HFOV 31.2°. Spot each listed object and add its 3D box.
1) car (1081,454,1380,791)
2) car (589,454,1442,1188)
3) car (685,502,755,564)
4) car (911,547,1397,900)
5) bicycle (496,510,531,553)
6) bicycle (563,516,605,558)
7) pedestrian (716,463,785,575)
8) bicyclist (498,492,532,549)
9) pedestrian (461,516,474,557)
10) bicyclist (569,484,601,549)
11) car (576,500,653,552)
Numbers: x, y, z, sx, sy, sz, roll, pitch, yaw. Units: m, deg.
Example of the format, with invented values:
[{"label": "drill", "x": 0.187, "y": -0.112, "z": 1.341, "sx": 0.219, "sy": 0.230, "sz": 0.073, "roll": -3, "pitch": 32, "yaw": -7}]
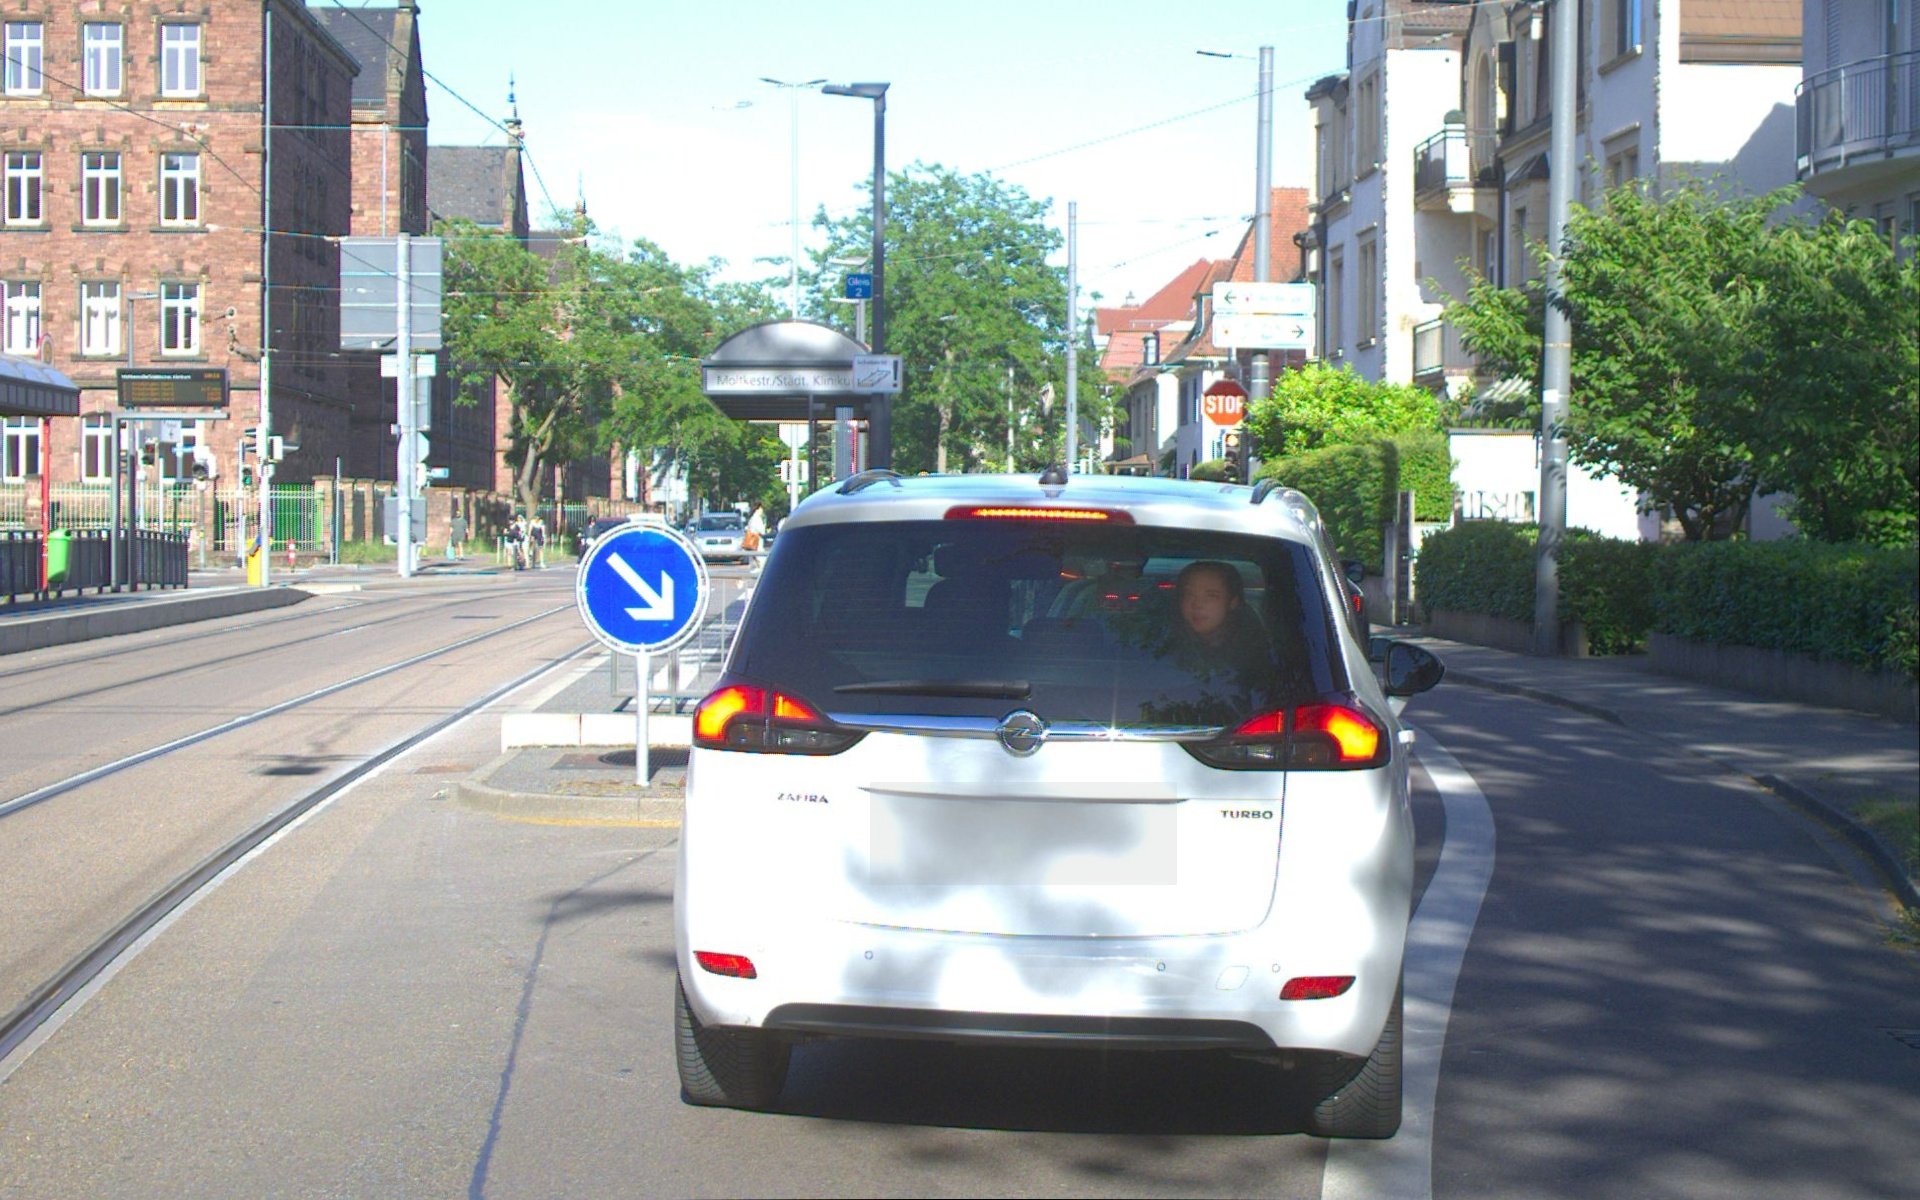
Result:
[{"label": "car", "x": 1.849, "y": 0.085, "z": 22.523, "sx": 1.709, "sy": 2.007, "sz": 3.905, "roll": 0, "pitch": 1, "yaw": 8}, {"label": "car", "x": 0.343, "y": 0.500, "z": 9.748, "sx": 1.893, "sy": 1.605, "sz": 4.227, "roll": 0, "pitch": -1, "yaw": 6}, {"label": "car", "x": -7.621, "y": -2.123, "z": 109.439, "sx": 1.993, "sy": 1.907, "sz": 4.000, "roll": 0, "pitch": 1, "yaw": -1}, {"label": "car", "x": 1.054, "y": 0.480, "z": 16.401, "sx": 1.994, "sy": 1.437, "sz": 3.999, "roll": 0, "pitch": 1, "yaw": 8}, {"label": "bicycle", "x": -13.618, "y": -2.095, "z": 104.899, "sx": 0.821, "sy": 1.292, "sz": 2.678, "roll": 0, "pitch": 1, "yaw": -3}, {"label": "bicycle", "x": -11.780, "y": -1.991, "z": 107.753, "sx": 1.148, "sy": 1.292, "sz": 2.861, "roll": 0, "pitch": 1, "yaw": -3}, {"label": "pedestrian", "x": -3.850, "y": -1.492, "z": 63.179, "sx": 1.155, "sy": 2.007, "sz": 1.120, "roll": 1, "pitch": 1, "yaw": -7}, {"label": "bicyclist", "x": -13.614, "y": -2.426, "z": 105.181, "sx": 0.943, "sy": 1.728, "sz": 0.861, "roll": 0, "pitch": 1, "yaw": -2}, {"label": "pedestrian", "x": -17.277, "y": -2.233, "z": 120.637, "sx": 0.361, "sy": 1.433, "sz": 0.549, "roll": 0, "pitch": 1, "yaw": 0}, {"label": "bicyclist", "x": -11.745, "y": -2.609, "z": 107.736, "sx": 0.950, "sy": 2.007, "sz": 0.824, "roll": 0, "pitch": 1, "yaw": -5}, {"label": "car", "x": -11.625, "y": -2.494, "z": 115.984, "sx": 1.994, "sy": 1.716, "sz": 4.000, "roll": 0, "pitch": 1, "yaw": 3}]
